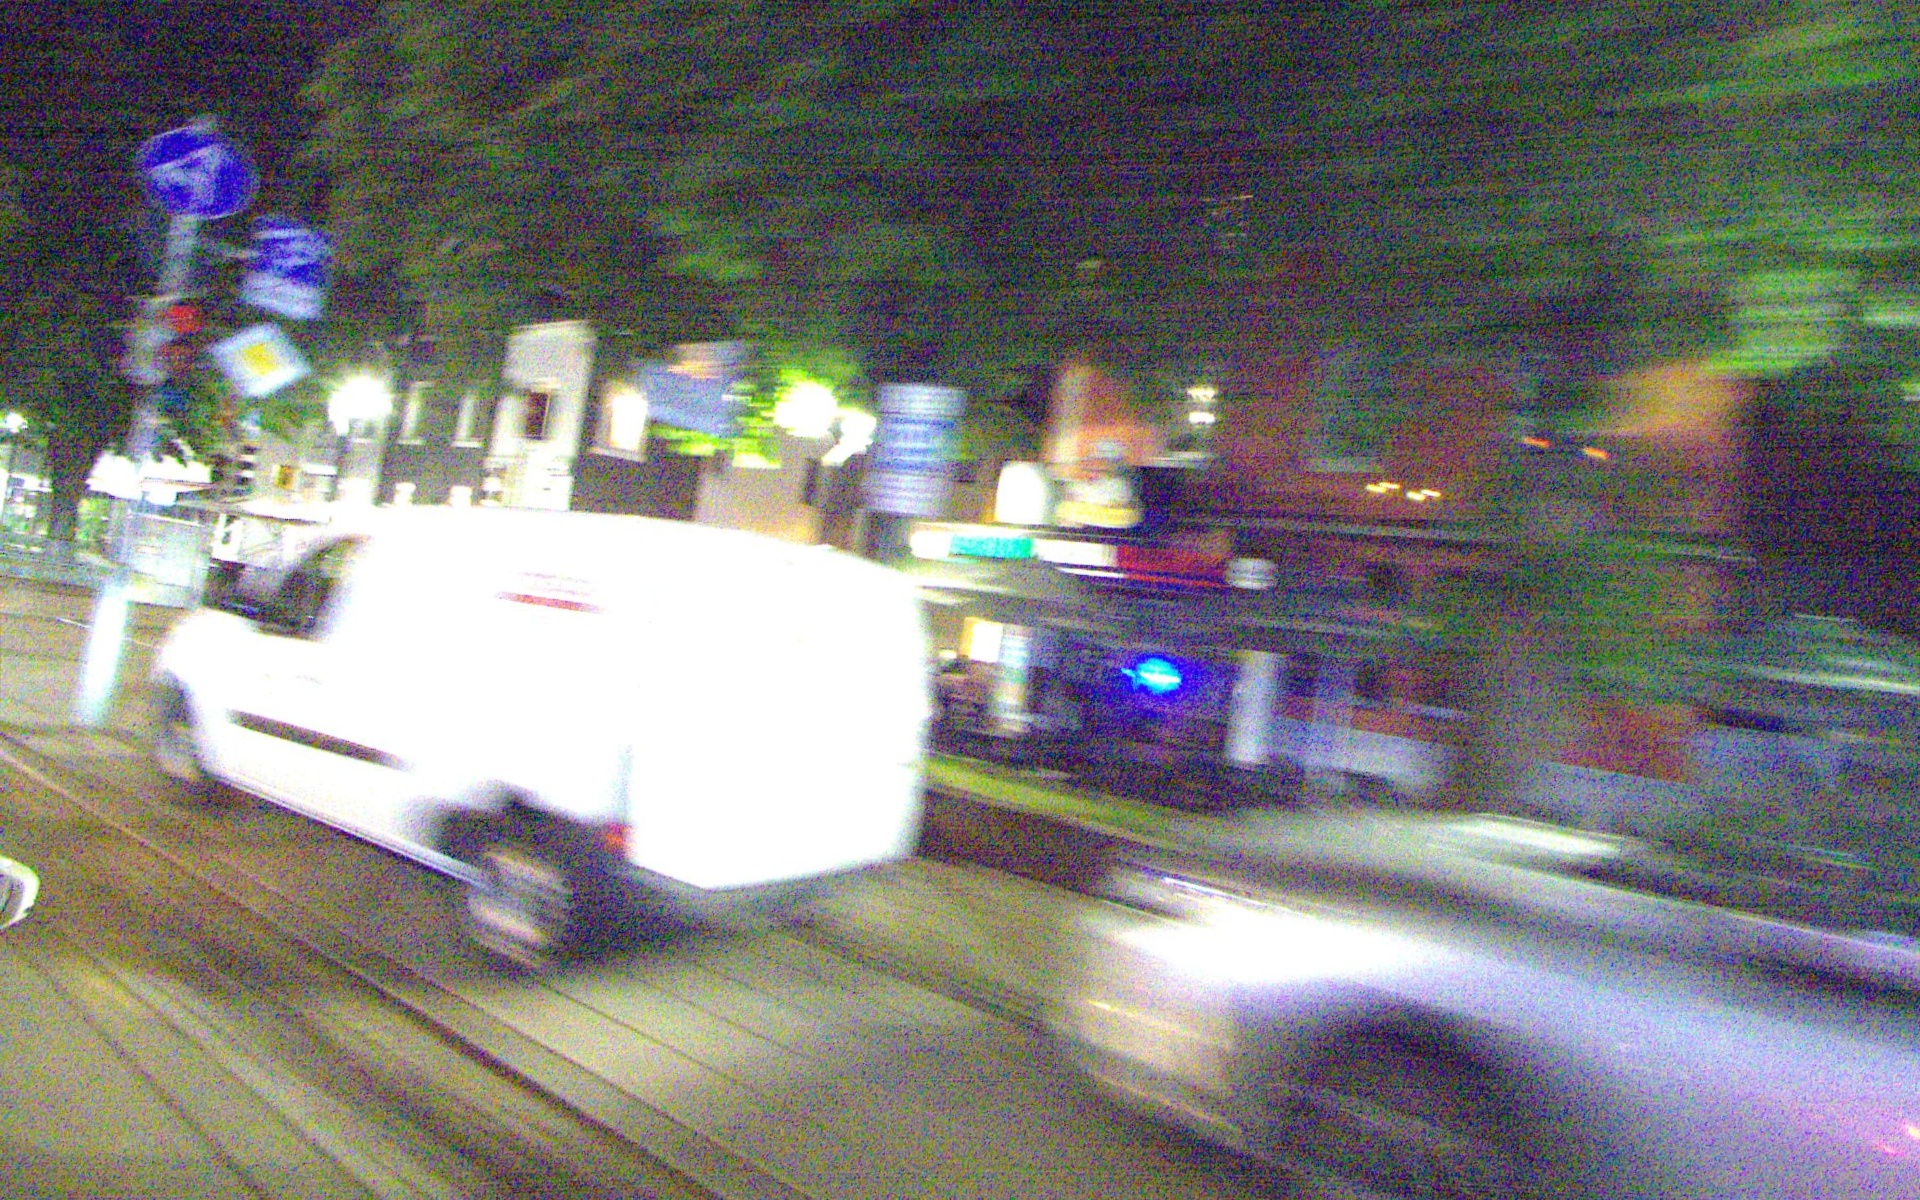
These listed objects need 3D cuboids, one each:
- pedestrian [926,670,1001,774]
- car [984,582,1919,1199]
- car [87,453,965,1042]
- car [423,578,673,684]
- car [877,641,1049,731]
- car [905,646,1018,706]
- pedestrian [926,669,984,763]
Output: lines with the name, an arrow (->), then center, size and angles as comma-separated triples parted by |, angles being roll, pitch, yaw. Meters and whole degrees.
pedestrian -> 0.047, 1.654, 13.678 | 0.677, 1.277, 0.526 | 10, -3, -29
car -> 2.391, 1.102, 2.325 | 4.225, 1.677, 1.688 | 7, -3, 31
car -> -2.454, 0.412, 5.262 | 4.504, 1.842, 1.793 | 7, -3, 32
car -> -8.171, 0.697, 20.372 | 1.774, 1.548, 4.327 | 5, -4, 32
car -> 0.180, 1.992, 22.628 | 1.773, 1.567, 4.152 | 9, -2, 32
car -> 0.119, 2.580, 33.681 | 1.774, 1.566, 4.154 | 4, -5, 32
pedestrian -> -0.071, 1.706, 14.852 | 0.497, 1.277, 0.526 | 10, -3, -29
